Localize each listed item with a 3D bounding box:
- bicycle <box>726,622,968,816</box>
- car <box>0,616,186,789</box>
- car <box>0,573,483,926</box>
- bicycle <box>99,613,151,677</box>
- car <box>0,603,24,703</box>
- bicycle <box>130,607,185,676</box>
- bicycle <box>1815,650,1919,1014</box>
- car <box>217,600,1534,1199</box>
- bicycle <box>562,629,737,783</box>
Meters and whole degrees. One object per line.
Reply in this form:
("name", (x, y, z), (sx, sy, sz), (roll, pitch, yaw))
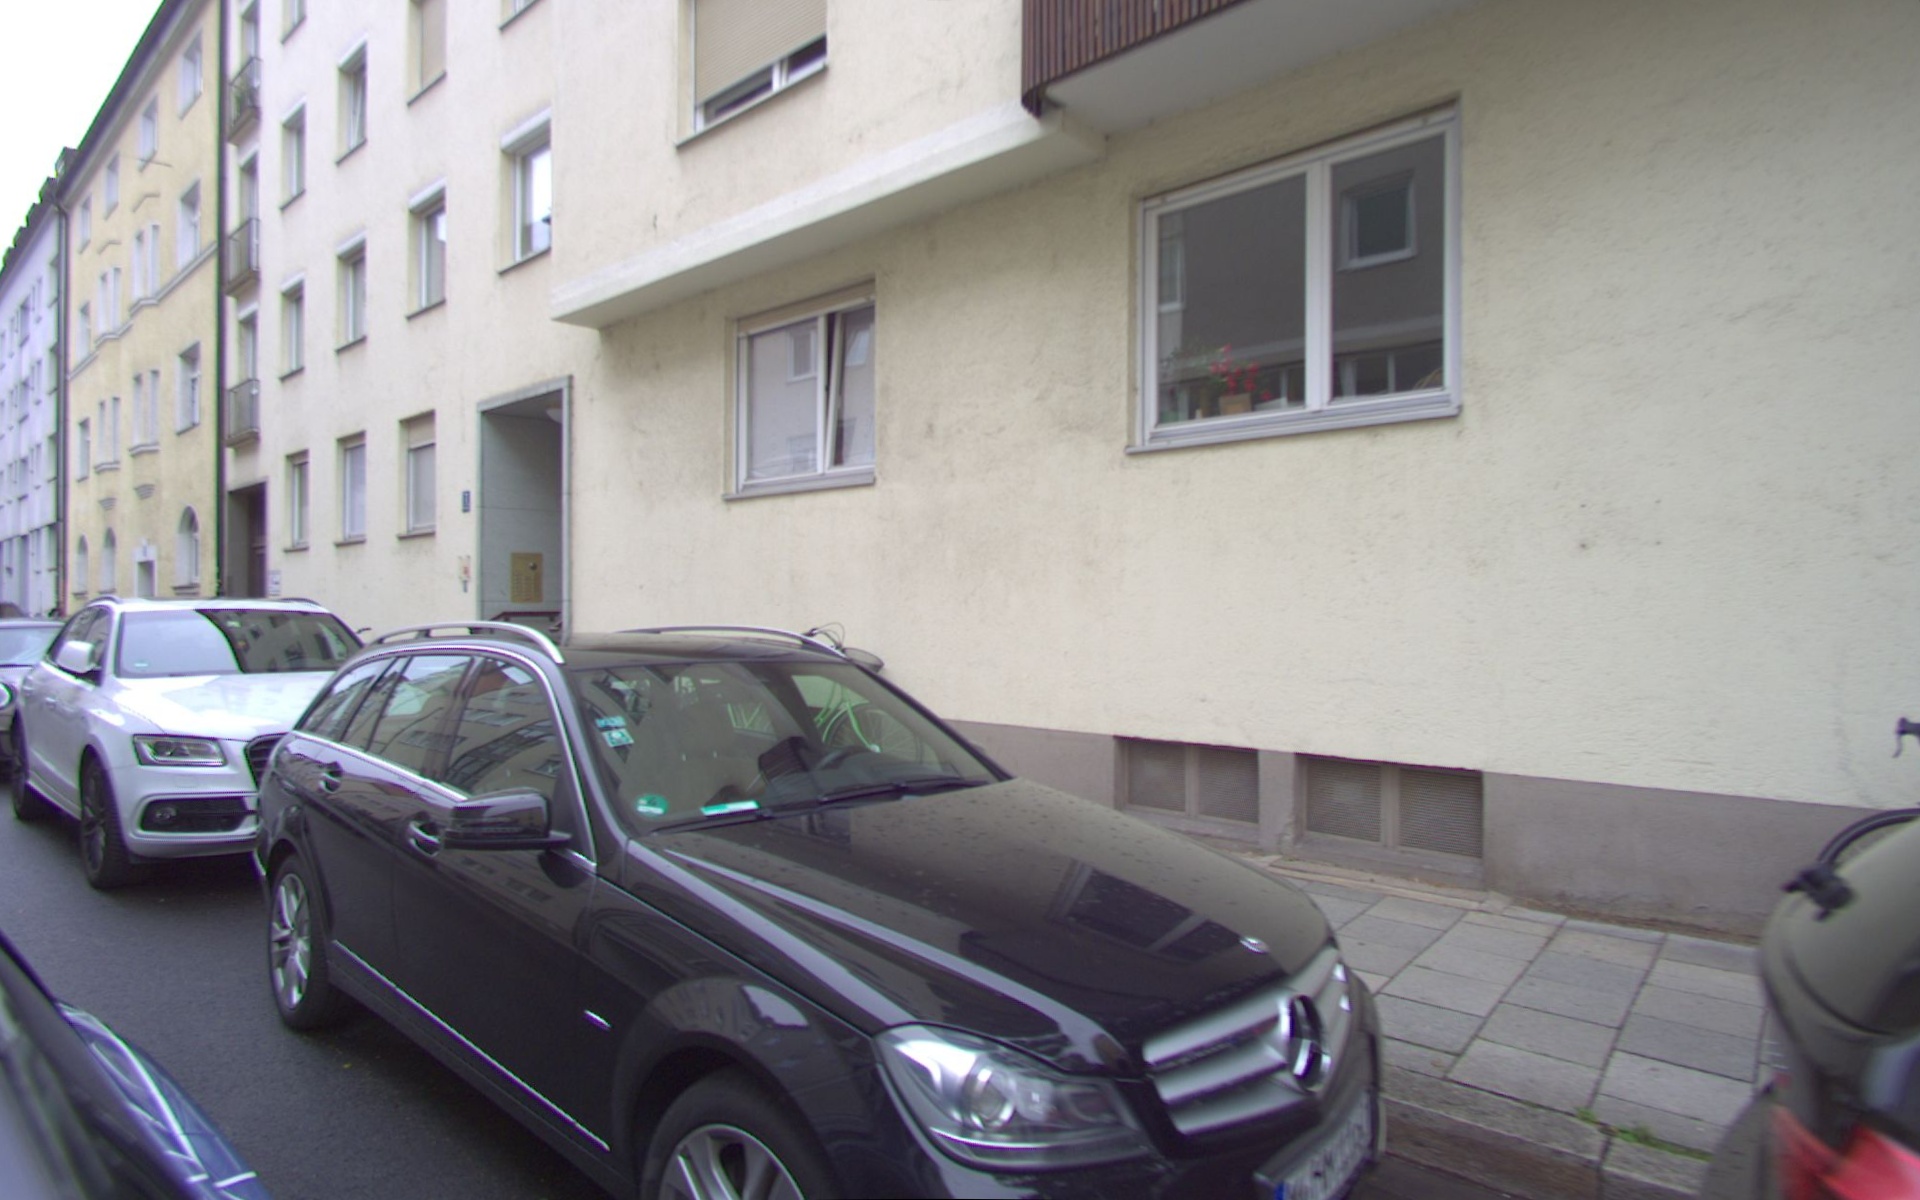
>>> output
("bicycle", (-0.831, 0.756, 7.086), (1.788, 1.170, 0.638), (0, -2, 42))
("car", (-9.303, 0.906, 10.234), (3.801, 1.446, 1.635), (0, -1, 42))
("car", (-5.155, 0.739, 6.958), (4.364, 1.688, 1.748), (0, -1, 41))
("bicycle", (-17.738, 0.936, 21.491), (1.550, 1.288, 0.529), (0, 2, 40))
("car", (-18.191, 0.883, 18.036), (4.414, 1.672, 1.859), (0, -1, 43))
("bicycle", (-16.137, 0.814, 20.346), (1.551, 1.288, 0.529), (1, 3, 40))
("bicycle", (3.772, 0.762, 3.070), (1.788, 1.170, 0.529), (0, -2, 42))
("car", (-0.819, 0.772, 3.299), (4.423, 1.494, 1.747), (0, -1, 43))
("bicycle", (-2.702, 0.854, 8.703), (1.788, 1.170, 0.575), (0, -3, 42))
